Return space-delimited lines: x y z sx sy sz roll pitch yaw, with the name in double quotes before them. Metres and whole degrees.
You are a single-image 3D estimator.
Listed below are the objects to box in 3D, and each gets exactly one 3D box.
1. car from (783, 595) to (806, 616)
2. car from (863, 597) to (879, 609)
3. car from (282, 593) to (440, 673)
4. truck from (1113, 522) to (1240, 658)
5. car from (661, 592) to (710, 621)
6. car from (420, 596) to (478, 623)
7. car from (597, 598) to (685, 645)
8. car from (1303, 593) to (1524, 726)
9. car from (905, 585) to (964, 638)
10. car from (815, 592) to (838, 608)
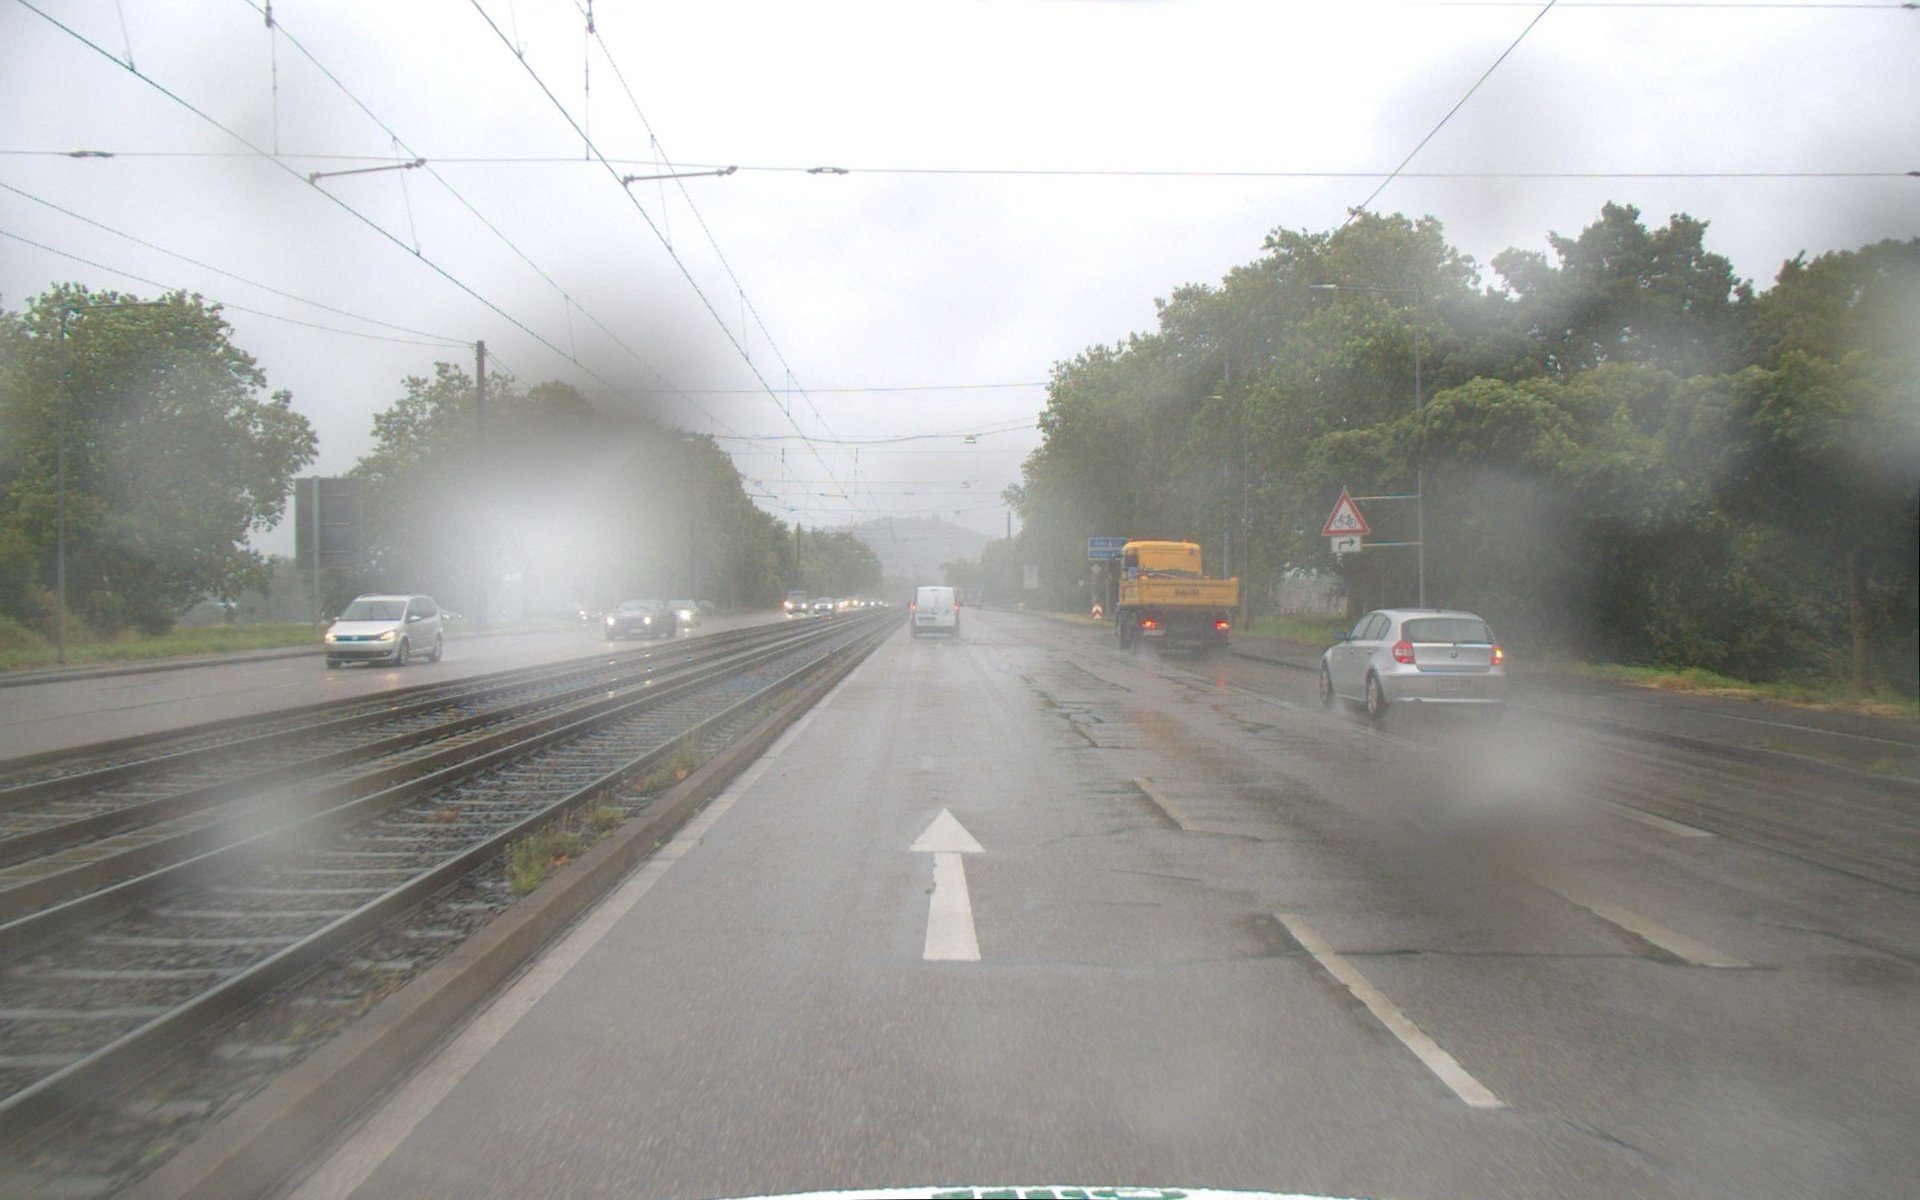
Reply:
"car" -15.426 0.484 154.532 1.849 1.841 5.002 1 1 -3
"car" -12.953 0.402 241.848 1.753 1.576 5.315 1 1 3
"car" -13.466 0.690 37.508 1.805 1.601 5.065 1 1 -1
"truck" 5.690 -0.302 44.520 2.503 3.314 6.933 1 1 0
"car" -14.373 0.332 86.810 1.722 1.386 5.071 1 1 -1
"car" -35.652 0.619 115.419 4.568 1.716 1.836 2 1 43
"car" -11.480 0.747 59.864 1.952 1.489 5.253 -2 1 2
"car" 6.061 0.723 22.647 1.593 1.529 4.605 1 1 -2
"car" -0.883 0.374 58.452 1.948 1.713 3.740 1 1 0
"car" -12.204 0.005 151.354 1.706 1.377 4.545 1 1 -1
